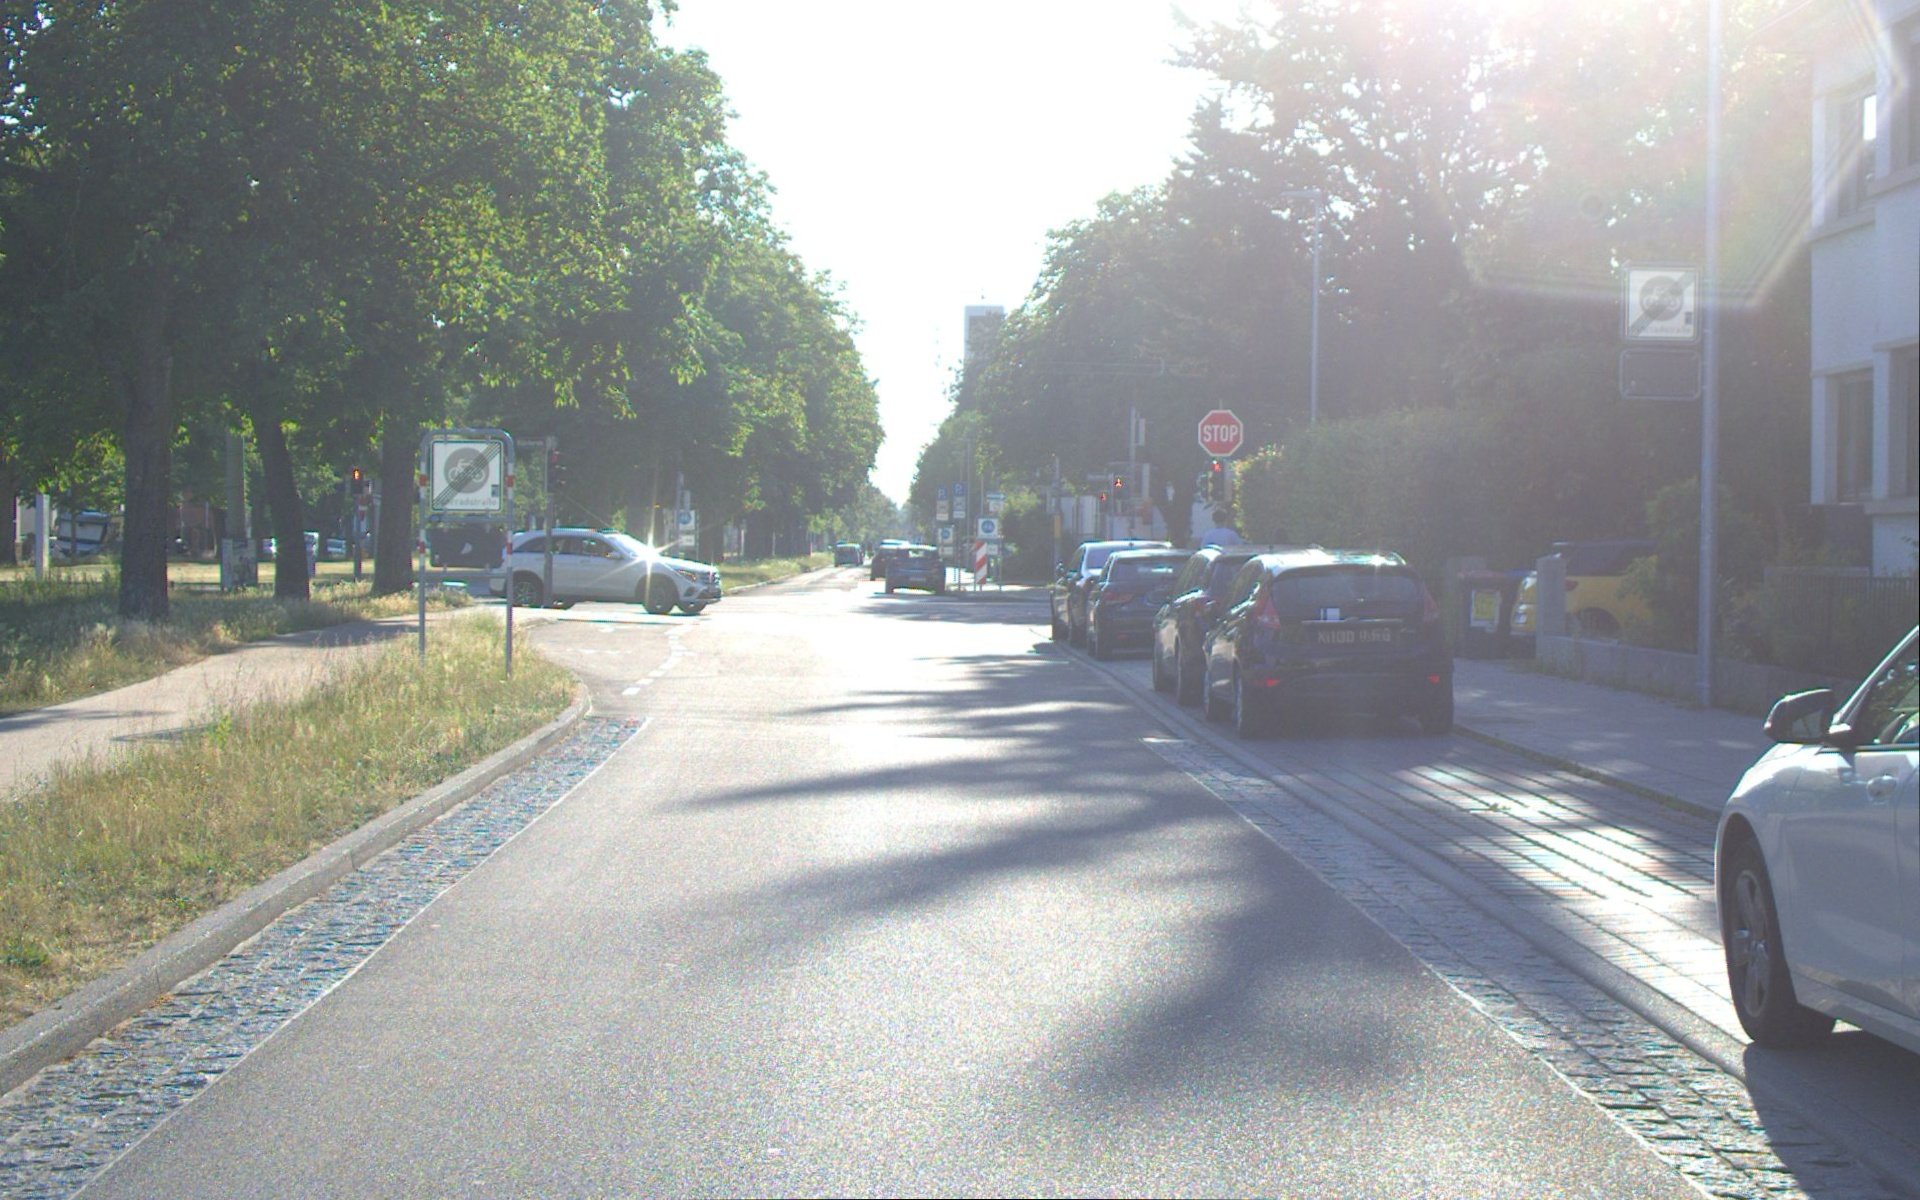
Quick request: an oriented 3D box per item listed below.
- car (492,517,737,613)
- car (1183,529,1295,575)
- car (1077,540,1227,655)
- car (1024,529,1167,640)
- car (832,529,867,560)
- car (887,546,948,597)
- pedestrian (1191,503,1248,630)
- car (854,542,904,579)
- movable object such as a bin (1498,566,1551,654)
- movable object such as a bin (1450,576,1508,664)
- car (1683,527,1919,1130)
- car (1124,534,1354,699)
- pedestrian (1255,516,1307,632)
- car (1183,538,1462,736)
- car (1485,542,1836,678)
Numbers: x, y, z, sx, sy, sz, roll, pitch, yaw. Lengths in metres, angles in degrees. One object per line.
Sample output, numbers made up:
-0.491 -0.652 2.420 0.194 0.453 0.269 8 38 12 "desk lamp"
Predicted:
-6.871 -0.703 68.537 4.413 1.671 1.896 3 1 14 "car"
9.964 -1.728 122.907 3.779 1.520 1.744 1 2 -1 "car"
2.458 -0.058 44.800 1.641 1.423 3.937 -1 1 -1 "car"
1.971 -0.255 51.325 1.859 1.537 4.873 1 1 -1 "car"
-7.329 -3.682 228.409 2.134 2.007 3.902 2 1 0 "car"
-1.242 -0.863 101.569 1.641 1.446 3.307 2 1 1 "car"
3.868 -0.500 51.249 0.670 1.859 0.882 2 1 -4 "pedestrian"
-3.192 -1.555 135.588 1.845 1.389 3.829 2 1 0 "car"
6.812 0.122 41.514 0.507 1.039 0.417 1 1 -6 "movable object such as a bin"
6.257 0.236 41.461 0.507 1.039 0.659 1 1 -6 "movable object such as a bin"
3.280 0.561 8.940 1.782 1.502 4.234 -1 1 -2 "car"
2.644 0.112 33.455 1.746 1.469 4.256 1 1 -2 "car"
4.783 -0.392 51.235 0.669 1.702 0.623 1 1 -1 "pedestrian"
2.883 0.251 28.098 1.718 1.466 3.984 -1 1 -2 "car"
7.973 0.102 39.361 3.633 1.491 1.781 -1 1 -1 "car"
